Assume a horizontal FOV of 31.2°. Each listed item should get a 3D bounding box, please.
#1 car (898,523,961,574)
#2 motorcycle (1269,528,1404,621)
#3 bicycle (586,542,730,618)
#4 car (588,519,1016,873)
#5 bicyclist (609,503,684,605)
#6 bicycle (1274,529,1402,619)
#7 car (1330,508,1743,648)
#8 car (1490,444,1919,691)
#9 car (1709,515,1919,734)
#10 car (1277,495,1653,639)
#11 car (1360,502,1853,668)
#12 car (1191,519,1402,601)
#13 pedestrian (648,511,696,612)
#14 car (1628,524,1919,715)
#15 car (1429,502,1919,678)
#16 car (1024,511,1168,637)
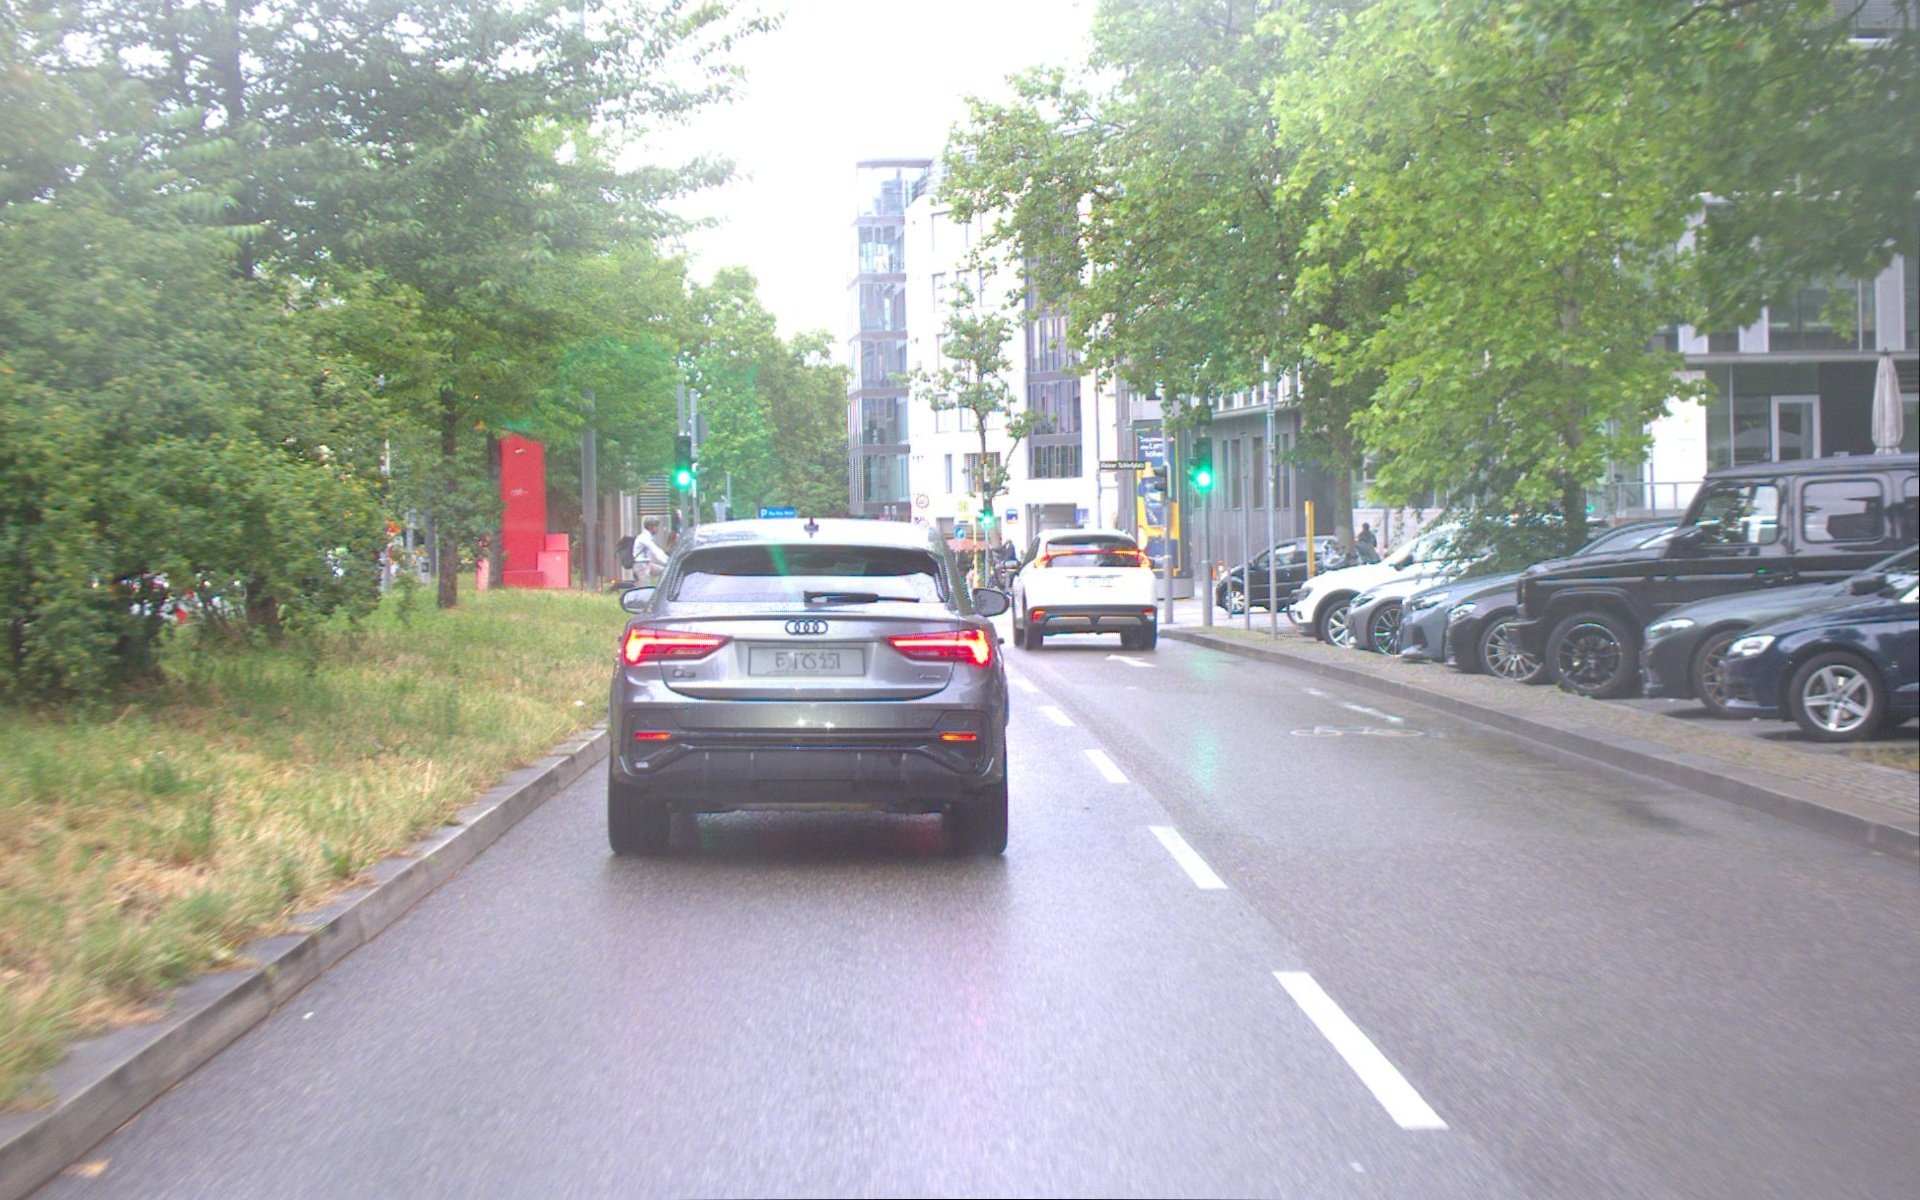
[{"bbox_3d":[-0.889,-1.558,103.800,1.849,1.518,4.039,0,1,0],"label":"car"},{"bbox_3d":[5.774,-0.396,52.669,2.029,1.410,0.725,0,0,9],"label":"motorcycle"},{"bbox_3d":[-4.943,-0.325,56.368,2.254,1.158,0.751,2,0,-1],"label":"bicycle"},{"bbox_3d":[-0.702,0.369,16.923,1.849,1.518,4.039,0,1,-1],"label":"car"},{"bbox_3d":[-5.133,-0.753,56.368,1.104,1.616,0.751,2,0,-1],"label":"bicyclist"},{"bbox_3d":[6.015,-0.419,54.652,1.983,1.410,0.725,0,0,9],"label":"bicycle"},{"bbox_3d":[6.638,-0.250,39.647,4.300,1.483,1.840,-1,1,29],"label":"car"},{"bbox_3d":[7.180,-0.287,29.053,4.944,1.971,1.927,-1,1,26],"label":"car"},{"bbox_3d":[7.392,0.143,22.963,4.371,1.431,1.759,0,1,26],"label":"car"},{"bbox_3d":[6.280,-0.402,42.805,4.223,1.663,1.836,-1,1,27],"label":"car"},{"bbox_3d":[6.609,-0.159,35.036,4.778,1.528,1.868,-1,1,15],"label":"car"},{"bbox_3d":[6.560,-0.784,67.175,3.861,1.562,1.664,1,0,42],"label":"car"},{"bbox_3d":[-5.104,-0.681,60.966,0.662,1.787,0.750,0,0,12],"label":"pedestrian"},{"bbox_3d":[7.545,0.118,25.751,4.630,1.390,1.844,-1,1,29],"label":"car"},{"bbox_3d":[6.849,-0.096,31.966,4.560,1.501,1.867,-1,1,25],"label":"car"},{"bbox_3d":[1.851,-0.383,47.781,1.849,1.663,4.039,0,1,0],"label":"car"}]
